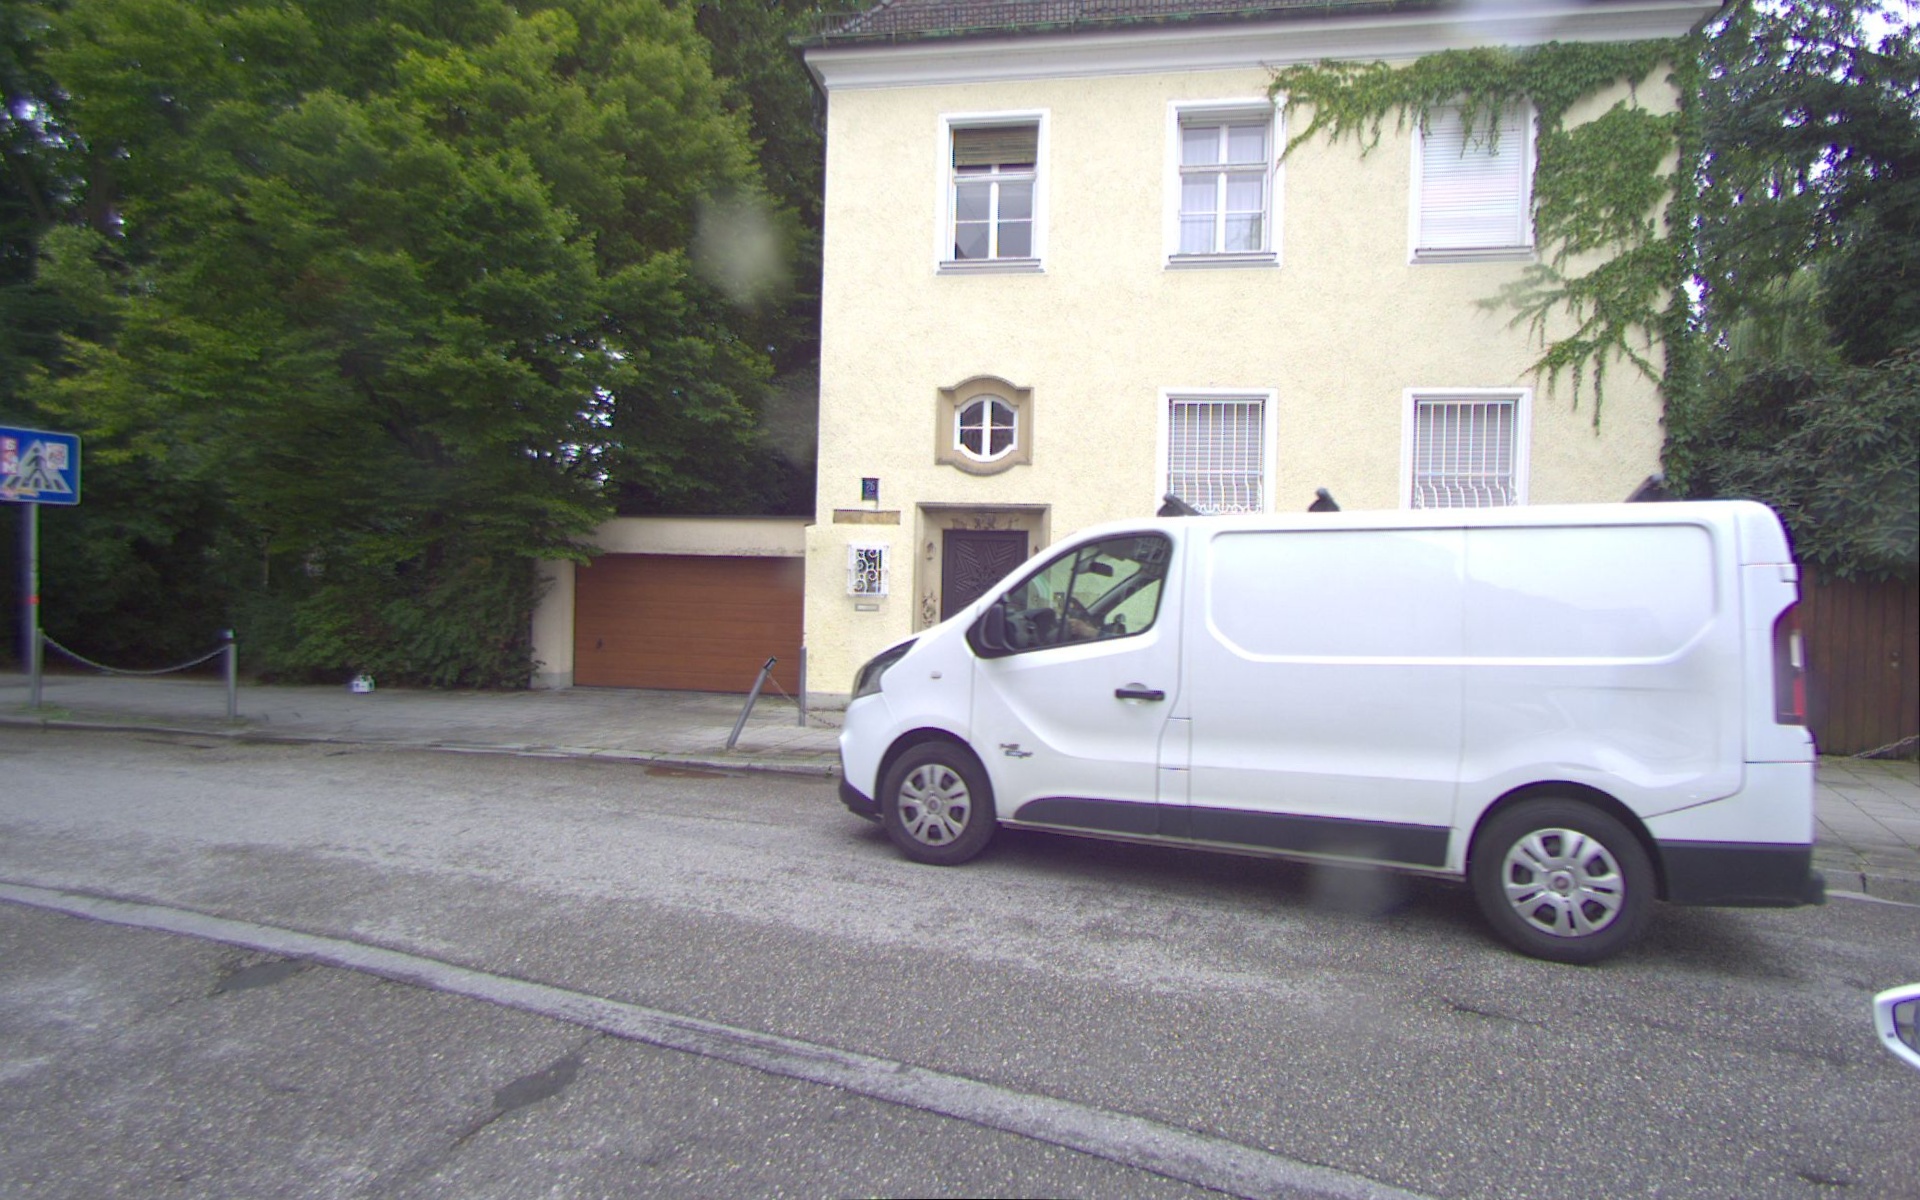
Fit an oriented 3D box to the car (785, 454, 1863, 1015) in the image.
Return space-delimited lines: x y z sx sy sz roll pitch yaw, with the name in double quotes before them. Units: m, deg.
"car" 1.617 0.484 5.739 4.866 2.068 2.044 1 -1 27
